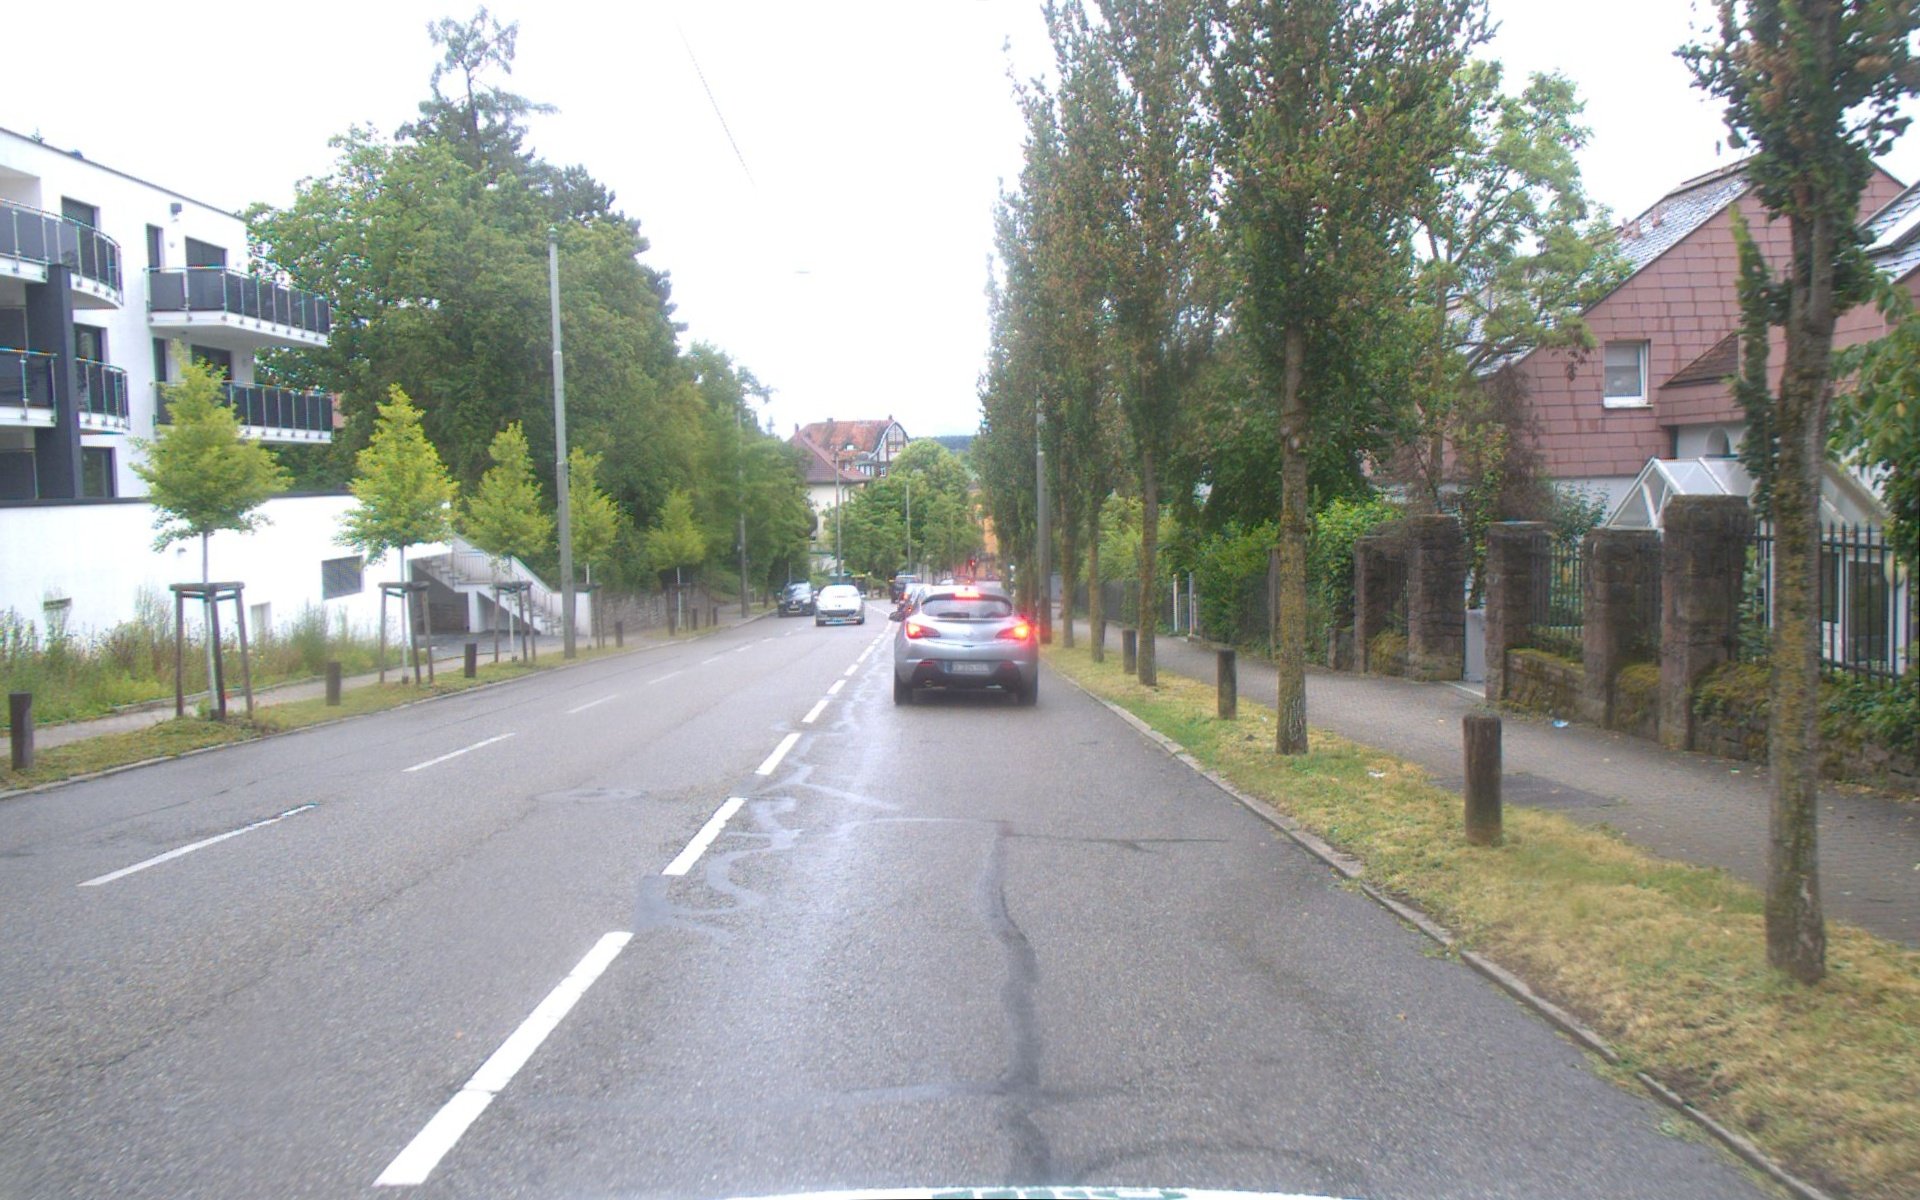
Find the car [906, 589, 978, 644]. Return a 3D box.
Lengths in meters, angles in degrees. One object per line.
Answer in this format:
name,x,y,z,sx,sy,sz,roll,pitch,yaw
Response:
car,-0.425,0.387,43.328,1.760,1.346,4.001,0,1,1

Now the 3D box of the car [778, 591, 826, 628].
car,-7.172,0.423,75.320,1.709,1.576,3.918,-3,0,1

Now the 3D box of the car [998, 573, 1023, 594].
car,5.493,-1.829,180.523,2.284,2.071,4.739,2,2,6

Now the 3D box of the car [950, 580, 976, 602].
car,0.275,-0.733,130.895,1.717,1.679,4.002,2,1,4

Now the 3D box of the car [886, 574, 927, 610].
car,-2.897,-0.450,90.221,1.731,1.812,3.979,2,2,4

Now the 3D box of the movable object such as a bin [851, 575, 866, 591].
movable object such as a bin,-8.740,-1.463,142.630,1.245,1.411,0.489,0,1,4

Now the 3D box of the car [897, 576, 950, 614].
car,-1.593,-0.242,73.139,1.919,1.497,3.953,2,2,4

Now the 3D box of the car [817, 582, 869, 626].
car,-4.276,0.127,60.834,1.726,1.512,3.998,-2,0,-3

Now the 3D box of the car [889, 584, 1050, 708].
car,0.086,0.540,21.752,1.906,1.457,3.883,1,0,-1
